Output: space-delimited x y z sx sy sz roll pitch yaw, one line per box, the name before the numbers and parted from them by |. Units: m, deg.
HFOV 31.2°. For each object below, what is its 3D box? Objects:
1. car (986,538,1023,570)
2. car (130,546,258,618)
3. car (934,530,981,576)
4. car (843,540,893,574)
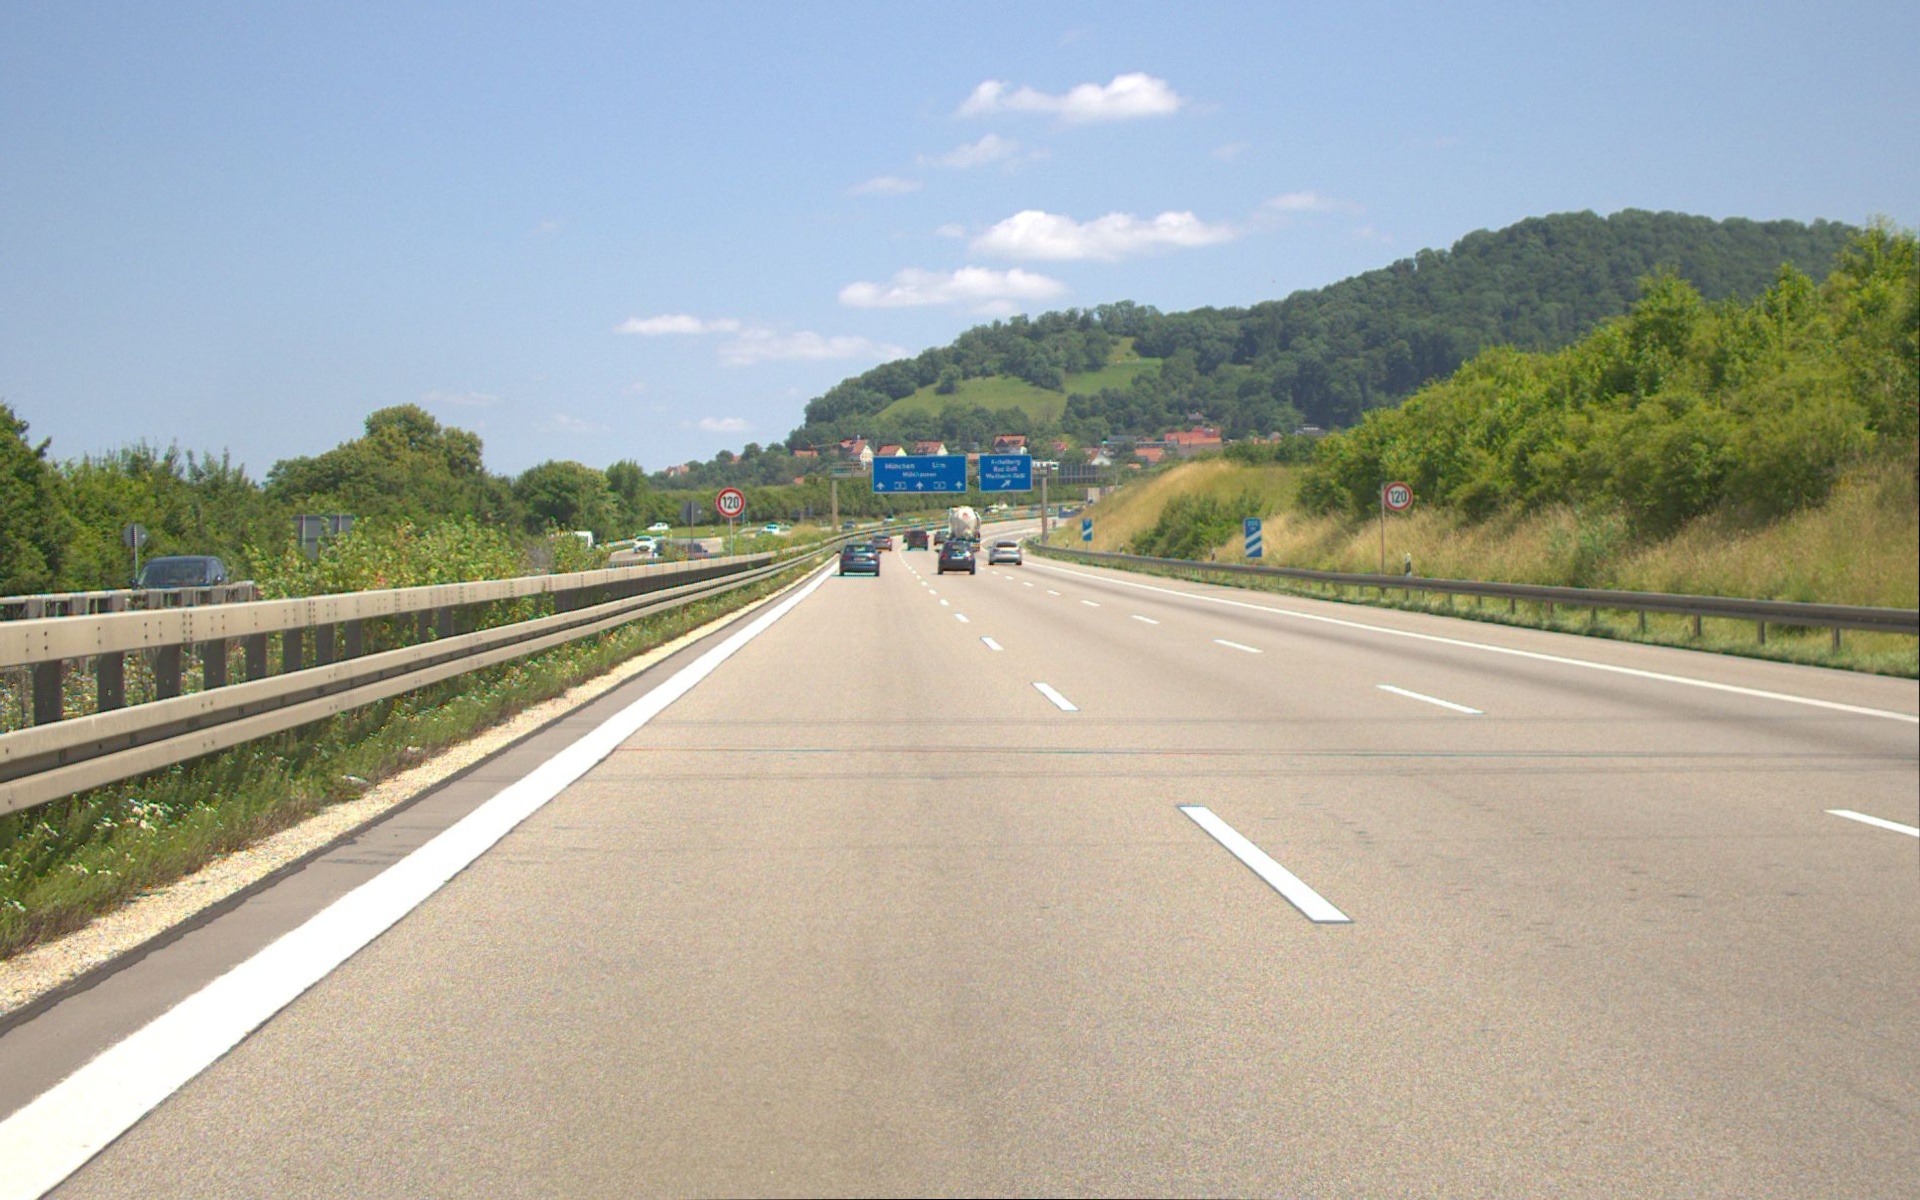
car | 2.594 -2.692 200.292 1.993 1.812 4.000 -1 1 -1
car | -16.987 -0.403 76.408 1.947 1.538 4.286 1 0 -1
car | -0.125 -2.087 153.004 1.993 2.007 4.000 1 0 -1
car | -3.842 -1.799 144.087 1.993 1.384 4.000 1 0 -1
